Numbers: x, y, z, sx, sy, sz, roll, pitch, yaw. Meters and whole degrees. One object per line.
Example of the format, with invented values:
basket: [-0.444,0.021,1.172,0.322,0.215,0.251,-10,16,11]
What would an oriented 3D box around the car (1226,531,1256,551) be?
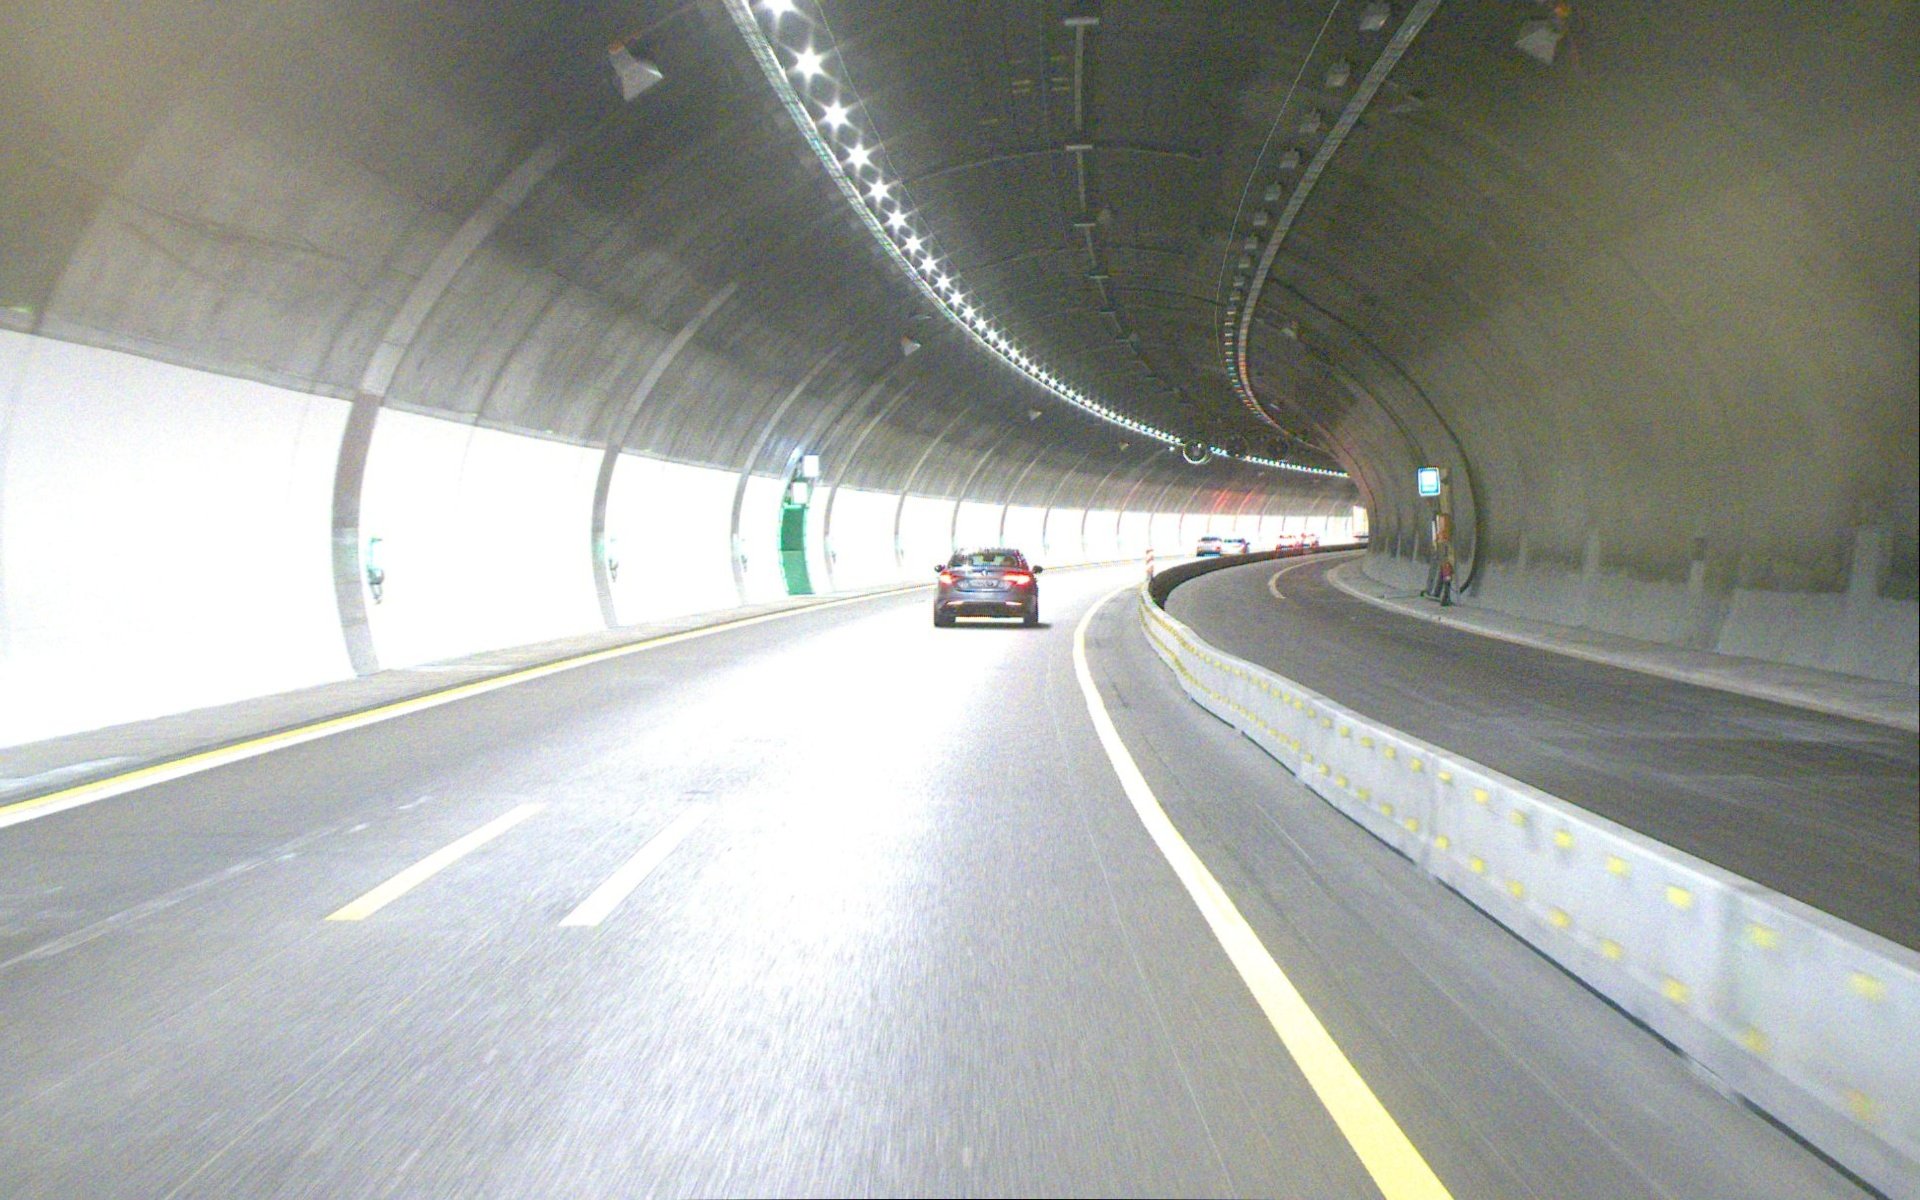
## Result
car: [18.575,-3.913,227.066,1.596,1.328,3.749,1,1,10]

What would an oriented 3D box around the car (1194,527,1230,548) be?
car: [17.954,-4.433,244.997,2.166,1.481,3.998,0,1,10]

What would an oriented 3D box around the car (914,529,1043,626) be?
car: [0.379,-0.441,62.802,2.141,1.700,4.000,0,1,3]
